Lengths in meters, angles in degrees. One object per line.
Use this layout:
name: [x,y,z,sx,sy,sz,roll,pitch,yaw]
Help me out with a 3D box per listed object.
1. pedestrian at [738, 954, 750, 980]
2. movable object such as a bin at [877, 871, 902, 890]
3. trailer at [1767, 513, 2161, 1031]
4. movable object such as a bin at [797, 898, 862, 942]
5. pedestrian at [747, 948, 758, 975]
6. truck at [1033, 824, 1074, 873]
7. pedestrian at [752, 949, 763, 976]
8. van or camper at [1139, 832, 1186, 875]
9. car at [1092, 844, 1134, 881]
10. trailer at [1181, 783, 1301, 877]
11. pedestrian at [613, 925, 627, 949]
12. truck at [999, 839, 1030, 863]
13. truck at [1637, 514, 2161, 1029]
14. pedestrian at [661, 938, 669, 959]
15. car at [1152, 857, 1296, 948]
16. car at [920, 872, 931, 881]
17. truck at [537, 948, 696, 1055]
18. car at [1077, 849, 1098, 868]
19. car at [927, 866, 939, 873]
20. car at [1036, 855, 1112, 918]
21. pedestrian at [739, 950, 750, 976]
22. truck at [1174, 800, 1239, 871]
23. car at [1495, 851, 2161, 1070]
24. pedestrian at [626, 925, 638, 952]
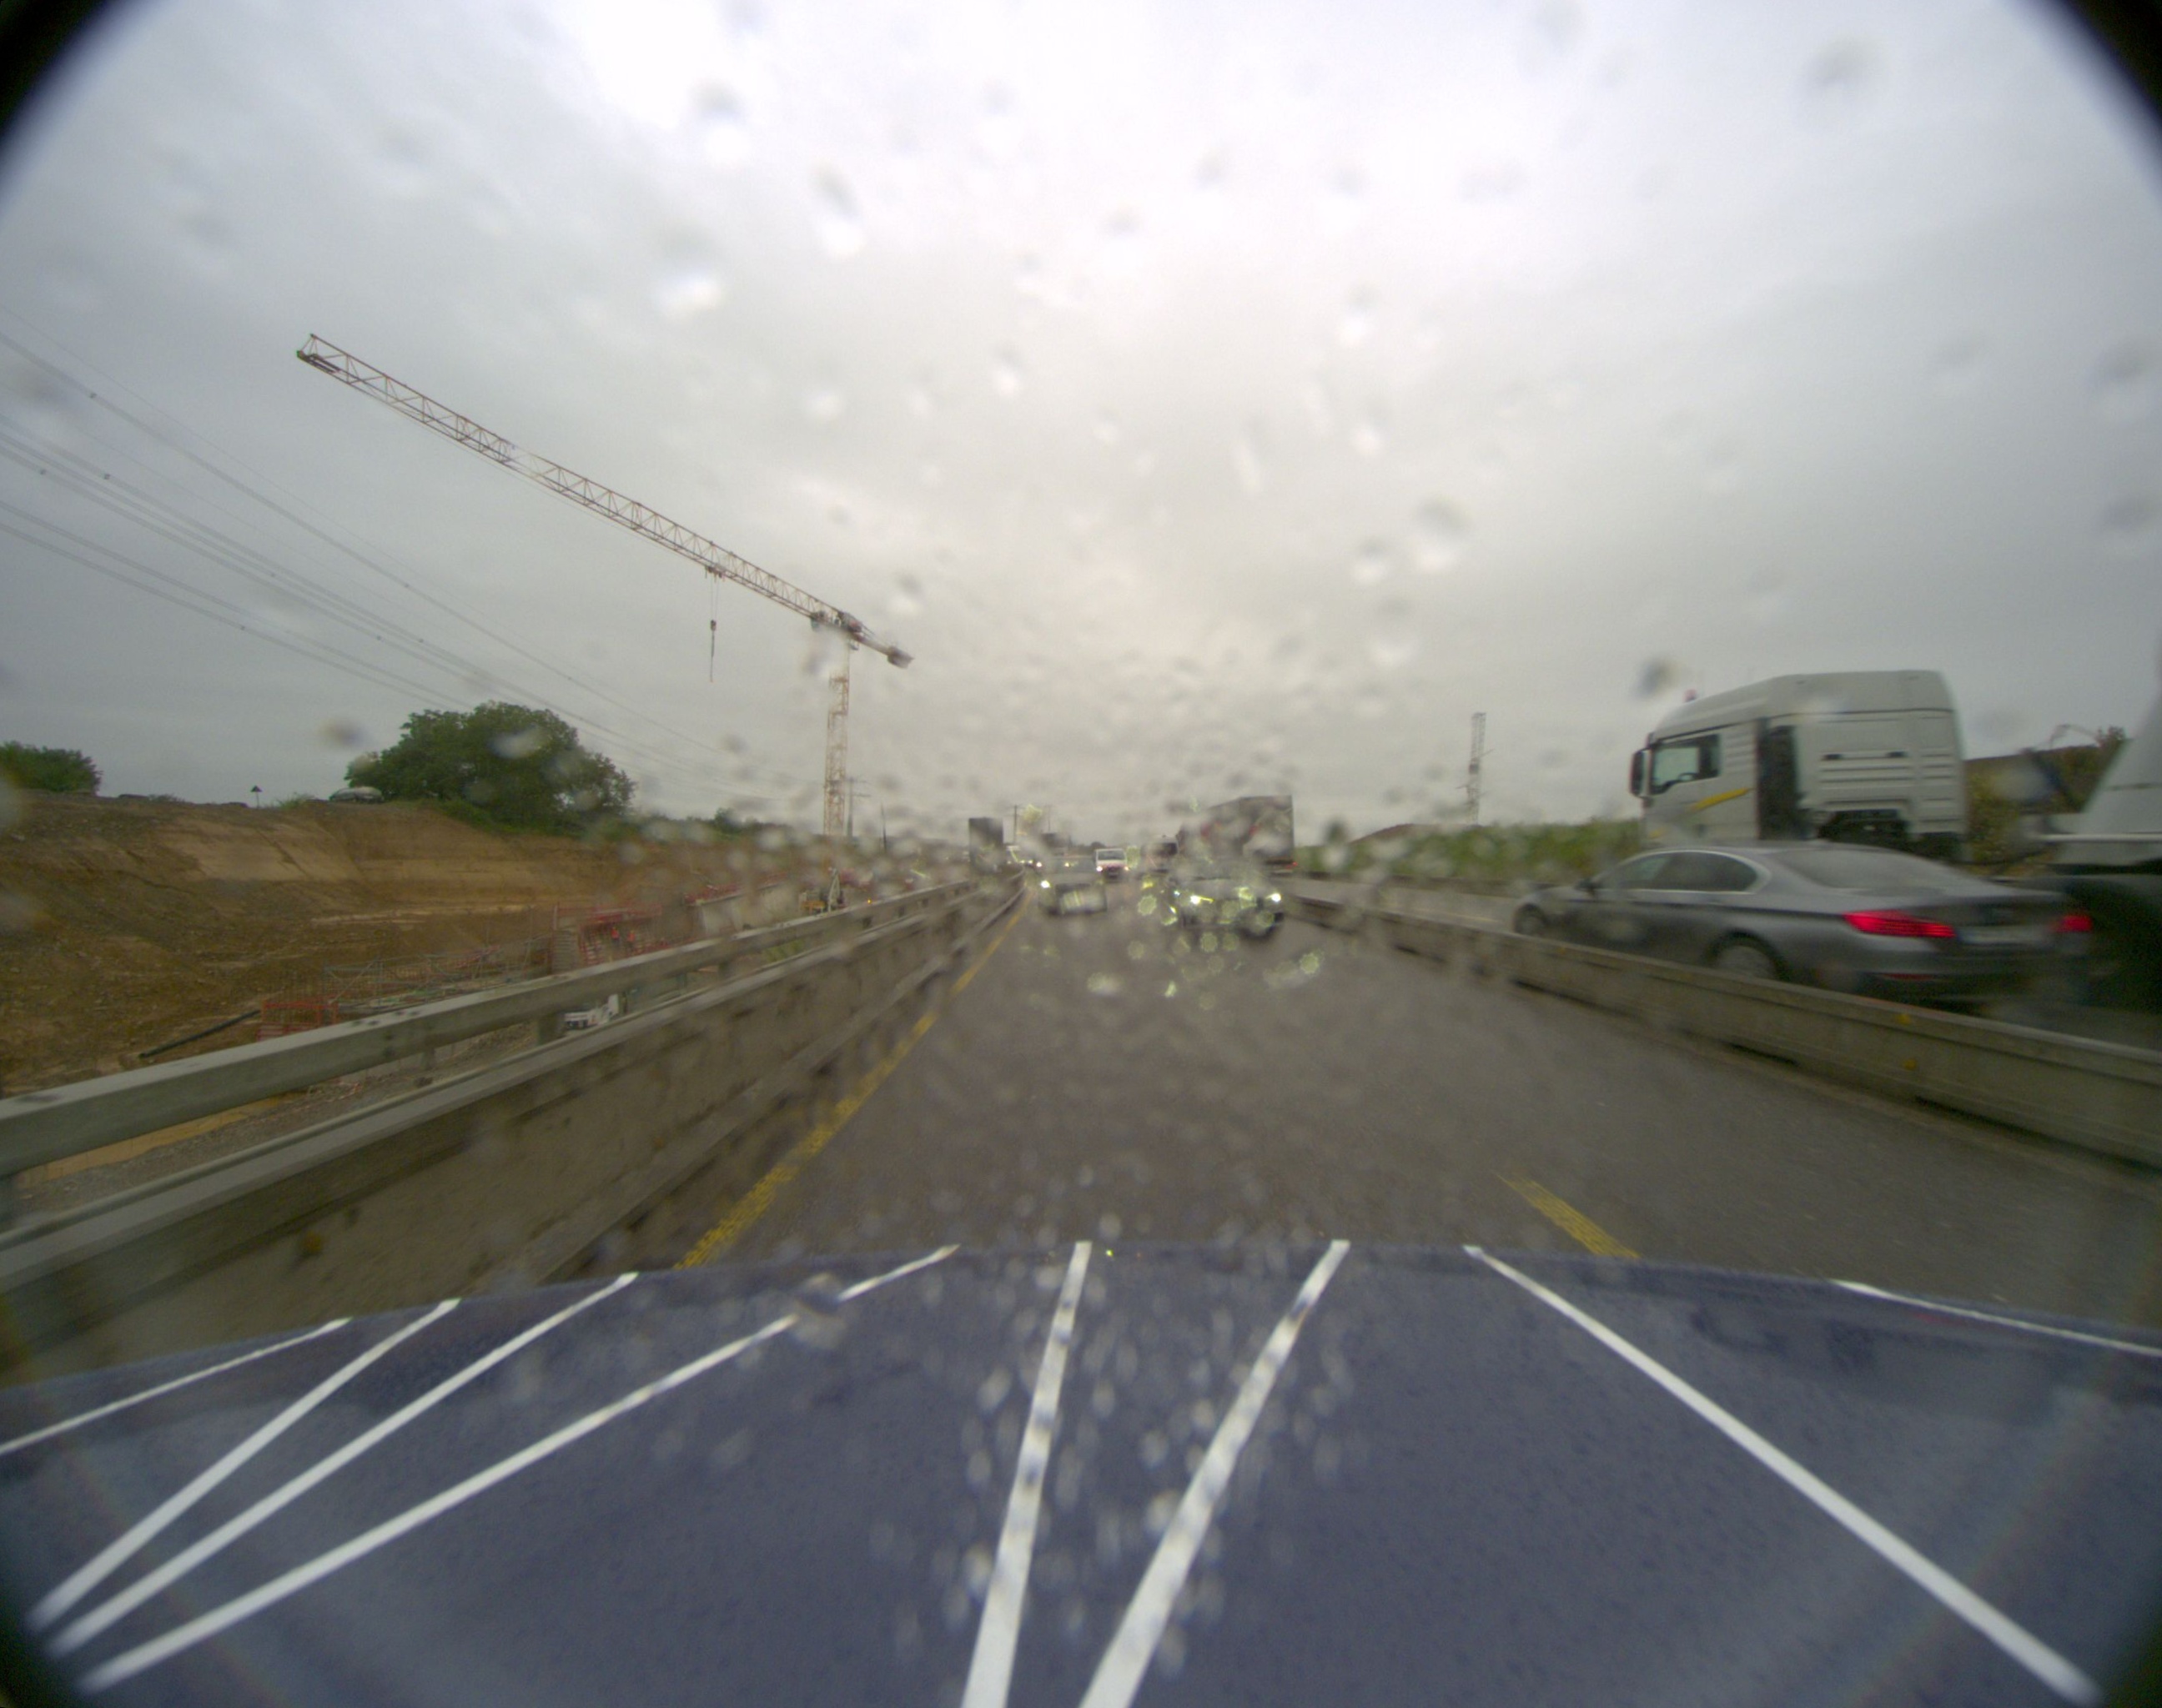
pedestrian: [-24.154,8.119,54.495,0.603,1.759,0.481,3,1,-4]
movable object such as a bin: [-34.617,4.734,137.181,3.502,2.865,3.998,5,1,-4]
trailer: [9.825,-0.615,3.400,3.263,3.941,11.535,-1,1,1]
movable object such as a bin: [-24.254,6.296,73.608,3.515,3.405,6.653,-1,2,5]
pedestrian: [-23.984,7.857,55.481,0.603,1.894,0.614,0,1,-4]
truck: [-2.243,-0.481,59.235,2.857,3.463,8.639,-1,1,-4]
pedestrian: [-23.982,8.040,56.285,0.603,1.894,0.481,1,1,-4]
van or camper: [5.245,-0.054,49.700,2.284,2.599,5.827,-2,1,0]
car: [1.752,0.435,43.340,2.069,1.934,5.155,-1,1,-1]
trailer: [8.544,-1.125,43.611,3.003,4.395,15.698,0,0,-2]
pedestrian: [-36.287,6.538,59.792,0.488,1.794,0.583,-5,2,36]
truck: [-12.772,-0.530,145.372,4.322,4.319,13.394,-2,1,-11]
truck: [9.899,-0.687,8.412,3.239,3.933,5.880,-1,1,0]
pedestrian: [-35.867,8.141,65.532,0.489,1.750,0.481,1,1,-4]
car: [2.539,0.793,14.480,1.805,1.375,4.086,-1,1,-2]
car: [-31.905,4.681,156.120,1.860,1.609,4.077,0,1,-5]
truck: [-23.879,7.437,39.839,2.710,3.591,9.071,0,2,0]
car: [0.649,0.447,76.478,1.790,1.744,3.998,-2,1,-4]
car: [-35.990,3.713,184.651,2.351,1.609,4.856,0,1,-5]
car: [-0.238,0.807,21.016,1.874,1.481,4.259,-1,0,-2]
pedestrian: [-25.092,8.129,56.620,0.603,1.894,0.481,1,1,-4]
truck: [8.265,-1.156,50.934,2.988,4.383,6.929,0,0,-2]
car: [6.398,0.709,7.598,1.808,1.431,4.950,0,1,0]
pedestrian: [-36.281,6.831,61.423,0.489,2.088,0.481,-6,2,-4]
